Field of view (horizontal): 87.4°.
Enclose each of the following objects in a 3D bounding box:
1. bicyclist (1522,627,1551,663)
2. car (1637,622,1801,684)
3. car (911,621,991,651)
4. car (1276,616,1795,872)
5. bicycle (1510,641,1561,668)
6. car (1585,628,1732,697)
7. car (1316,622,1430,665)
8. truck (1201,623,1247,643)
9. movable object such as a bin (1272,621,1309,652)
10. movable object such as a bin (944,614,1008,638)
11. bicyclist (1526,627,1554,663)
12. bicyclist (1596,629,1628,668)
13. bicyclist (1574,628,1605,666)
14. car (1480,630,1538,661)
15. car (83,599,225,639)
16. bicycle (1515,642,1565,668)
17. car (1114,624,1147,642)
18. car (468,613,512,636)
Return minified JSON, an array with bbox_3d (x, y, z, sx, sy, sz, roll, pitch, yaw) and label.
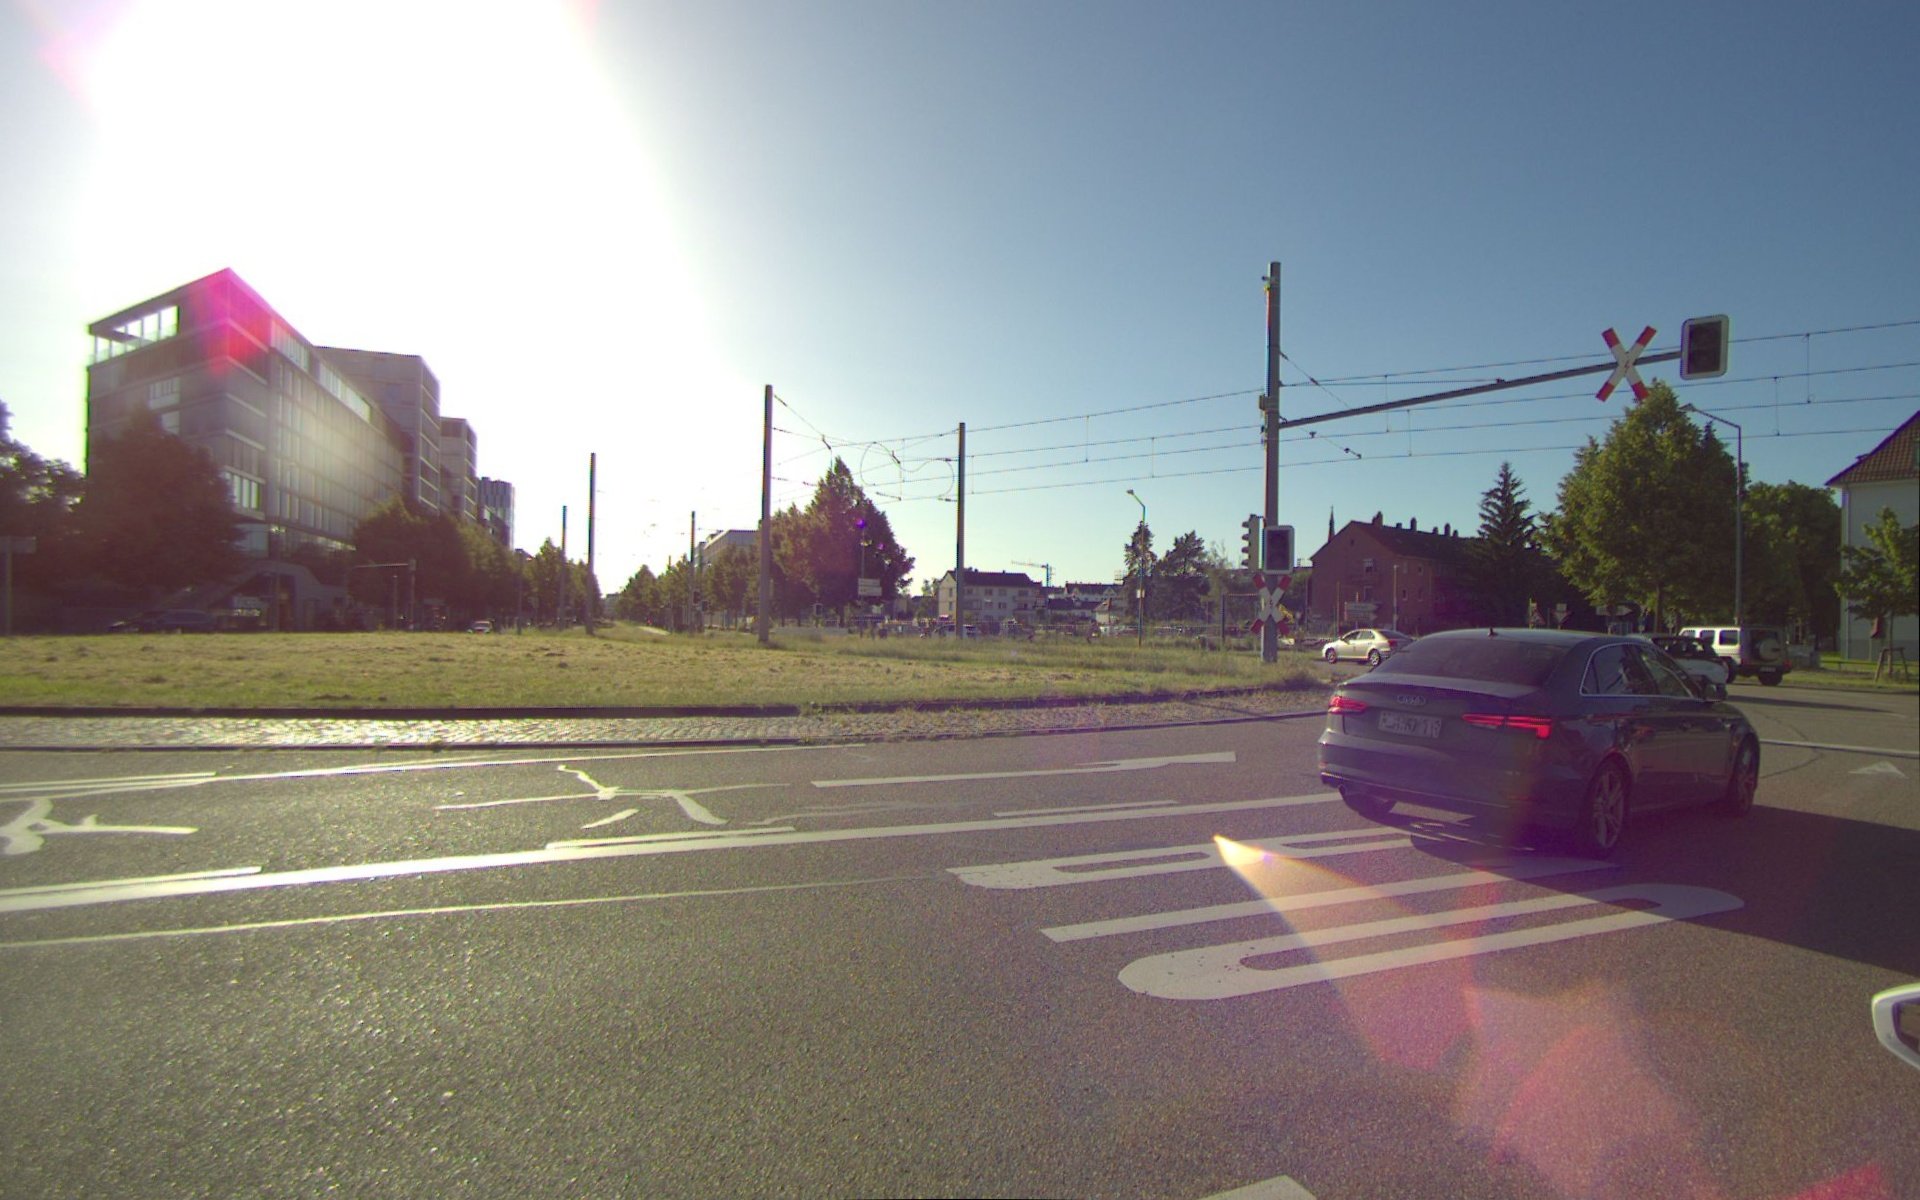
[{"bbox_3d":[31.039,2.407,54.055,0.875,1.876,1.017,4,-1,-31],"label":"bicyclist"},{"bbox_3d":[25.963,1.767,34.610,1.964,1.922,4.752,2,-2,-2],"label":"car"},{"bbox_3d":[-0.552,2.125,60.104,4.329,1.661,1.997,1,-1,30],"label":"car"},{"bbox_3d":[4.485,0.893,7.580,4.316,1.398,1.748,3,-1,-35],"label":"car"},{"bbox_3d":[30.976,2.940,54.100,0.875,1.282,2.191,4,-2,-31],"label":"bicycle"},{"bbox_3d":[17.117,1.469,24.839,1.772,1.480,3.811,3,-1,16],"label":"car"},{"bbox_3d":[16.707,1.721,40.862,1.968,1.596,4.392,1,-1,-17],"label":"car"},{"bbox_3d":[30.433,3.762,116.027,2.136,2.040,6.414,4,-2,-16],"label":"truck"},{"bbox_3d":[31.630,3.488,96.235,2.378,2.809,4.003,3,-1,6],"label":"movable object such as a bin"},{"bbox_3d":[2.053,3.426,131.586,7.805,2.819,2.933,2,-1,-17],"label":"movable object such as a bin"},{"bbox_3d":[31.829,2.483,55.126,0.875,1.876,1.017,4,-1,-31],"label":"bicyclist"},{"bbox_3d":[33.306,2.468,51.329,0.801,1.876,1.020,4,-1,-23],"label":"bicyclist"},{"bbox_3d":[32.125,2.397,51.269,0.801,1.876,1.020,4,-1,-23],"label":"bicyclist"},{"bbox_3d":[37.985,3.183,69.476,3.964,1.896,1.979,4,-2,-37],"label":"car"},{"bbox_3d":[-39.342,0.943,49.219,2.412,1.808,5.017,1,-1,12],"label":"car"},{"bbox_3d":[31.800,3.016,55.118,0.875,1.282,2.191,4,-2,-31],"label":"bicycle"},{"bbox_3d":[22.045,4.281,129.934,1.972,2.040,4.473,4,-2,-23],"label":"car"},{"bbox_3d":[-39.275,2.026,84.023,1.740,1.808,3.919,2,-1,1],"label":"car"}]
